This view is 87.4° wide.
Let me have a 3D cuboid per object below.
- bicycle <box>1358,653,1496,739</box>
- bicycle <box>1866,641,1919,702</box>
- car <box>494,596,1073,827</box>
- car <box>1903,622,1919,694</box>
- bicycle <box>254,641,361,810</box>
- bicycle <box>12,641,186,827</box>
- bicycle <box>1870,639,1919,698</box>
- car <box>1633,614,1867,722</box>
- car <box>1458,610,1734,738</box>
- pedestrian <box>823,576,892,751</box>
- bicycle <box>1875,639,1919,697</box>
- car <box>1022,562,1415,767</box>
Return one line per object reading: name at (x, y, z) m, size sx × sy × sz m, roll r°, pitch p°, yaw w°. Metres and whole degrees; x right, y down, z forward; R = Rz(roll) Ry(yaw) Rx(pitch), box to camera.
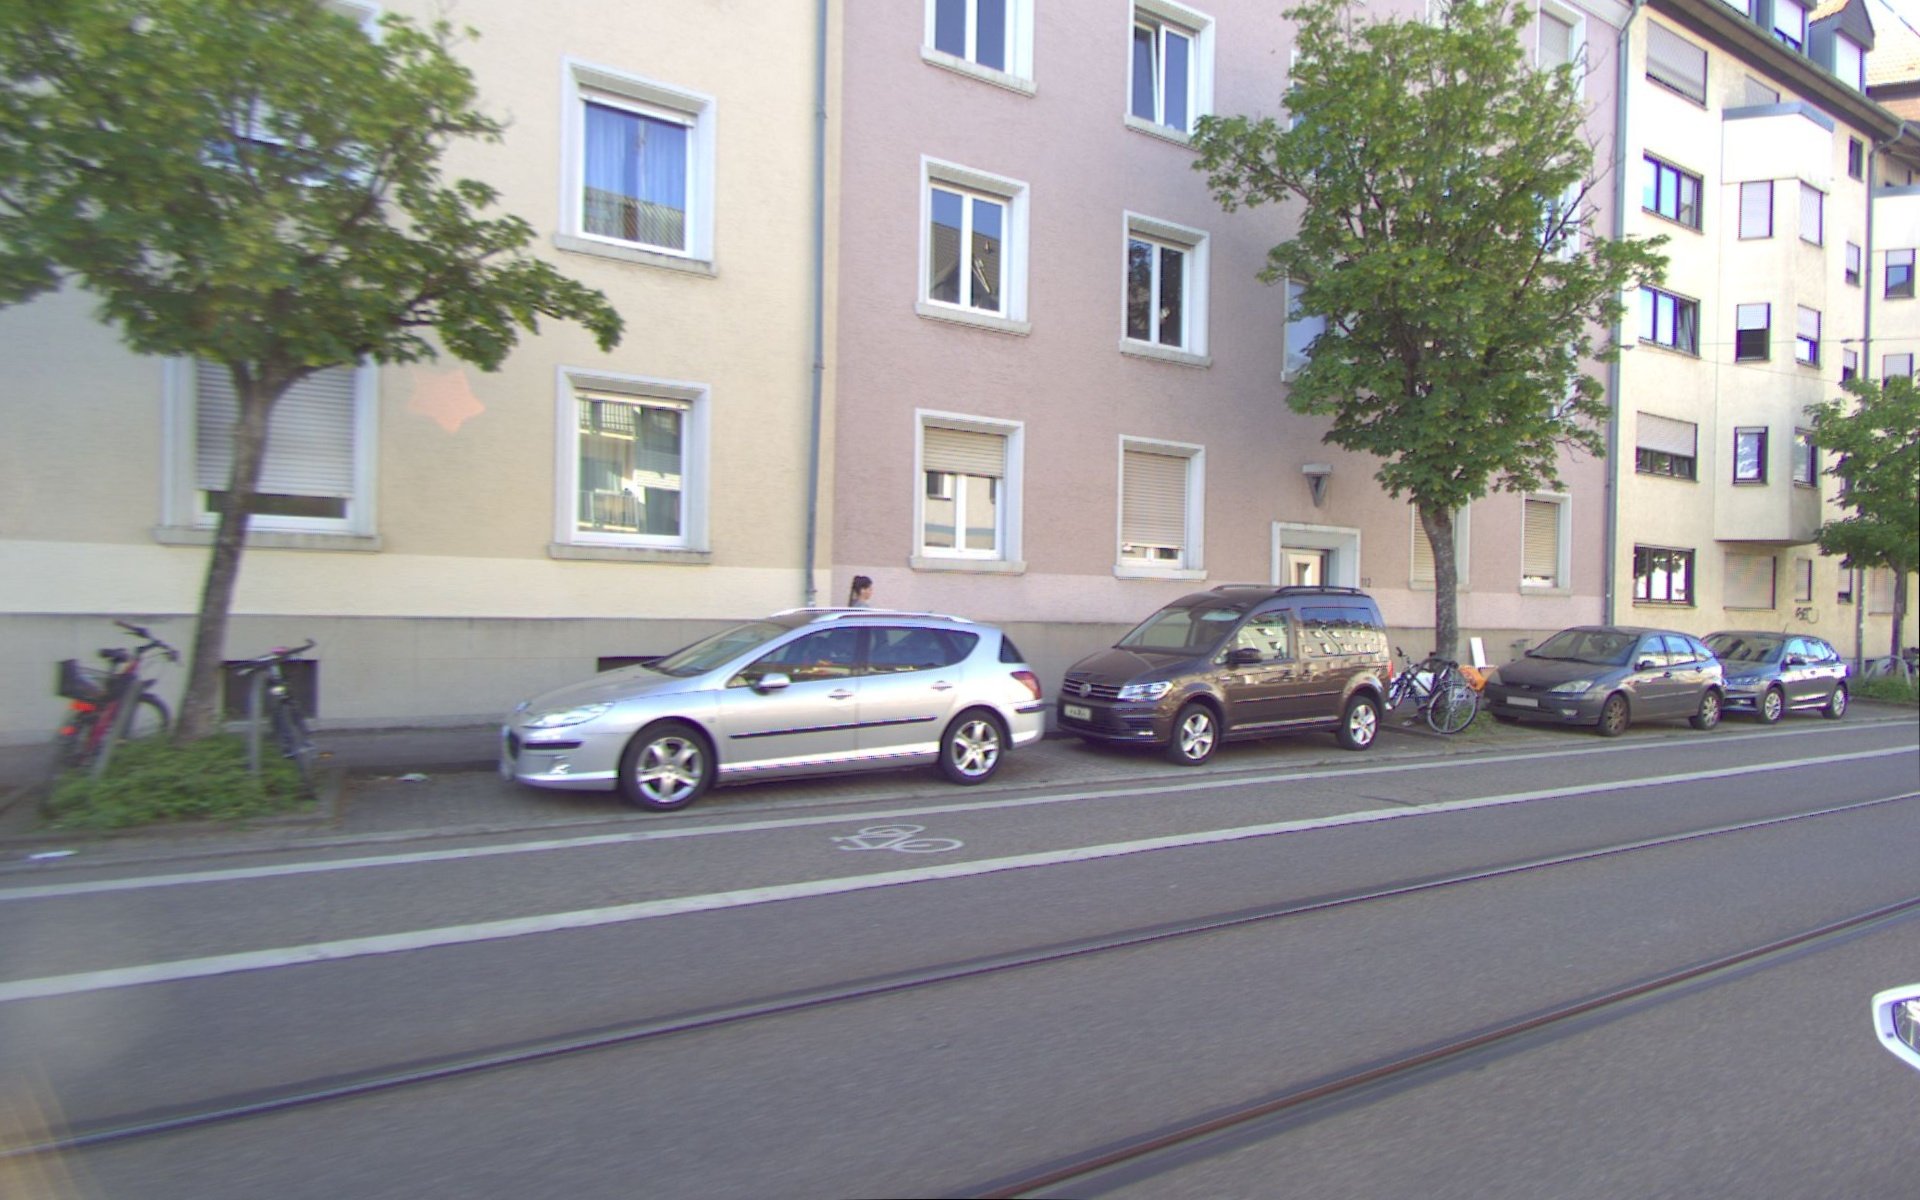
bicycle at (6.175, 1.239, 13.352) m, size 0.511 × 0.950 × 1.622 m, roll 1°, pitch 1°, yaw -32°
bicycle at (20.362, 1.536, 21.253) m, size 0.368 × 1.212 × 1.719 m, roll 1°, pitch 1°, yaw -32°
car at (-1.436, 0.794, 8.731) m, size 4.624 × 1.528 × 1.800 m, roll 1°, pitch 1°, yaw -30°
car at (23.369, 1.346, 22.775) m, size 3.953 × 1.577 × 1.826 m, roll 1°, pitch 1°, yaw -30°
bicycle at (-4.859, 0.865, 7.441) m, size 0.472 × 1.015 × 1.652 m, roll 1°, pitch 1°, yaw -39°
bicycle at (-5.808, 0.837, 6.859) m, size 0.470 × 1.015 × 1.661 m, roll 1°, pitch 1°, yaw -25°
bicycle at (20.679, 1.487, 21.491) m, size 0.368 × 1.212 × 1.719 m, roll 1°, pitch 1°, yaw -32°
car at (13.832, 1.115, 17.550) m, size 4.015 × 1.641 × 1.800 m, roll 1°, pitch 1°, yaw -30°
car at (9.587, 1.027, 15.096) m, size 4.015 × 1.641 × 1.800 m, roll 1°, pitch 1°, yaw -30°
pedestrian at (-1.118, 0.669, 10.951) m, size 0.536 × 1.850 × 0.534 m, roll 1°, pitch 1°, yaw -29°
bicycle at (21.013, 1.494, 21.733) m, size 0.368 × 1.212 × 1.719 m, roll 1°, pitch 1°, yaw -32°
car at (3.010, 0.642, 11.498) m, size 4.282 × 1.969 × 1.800 m, roll 1°, pitch 1°, yaw -30°
